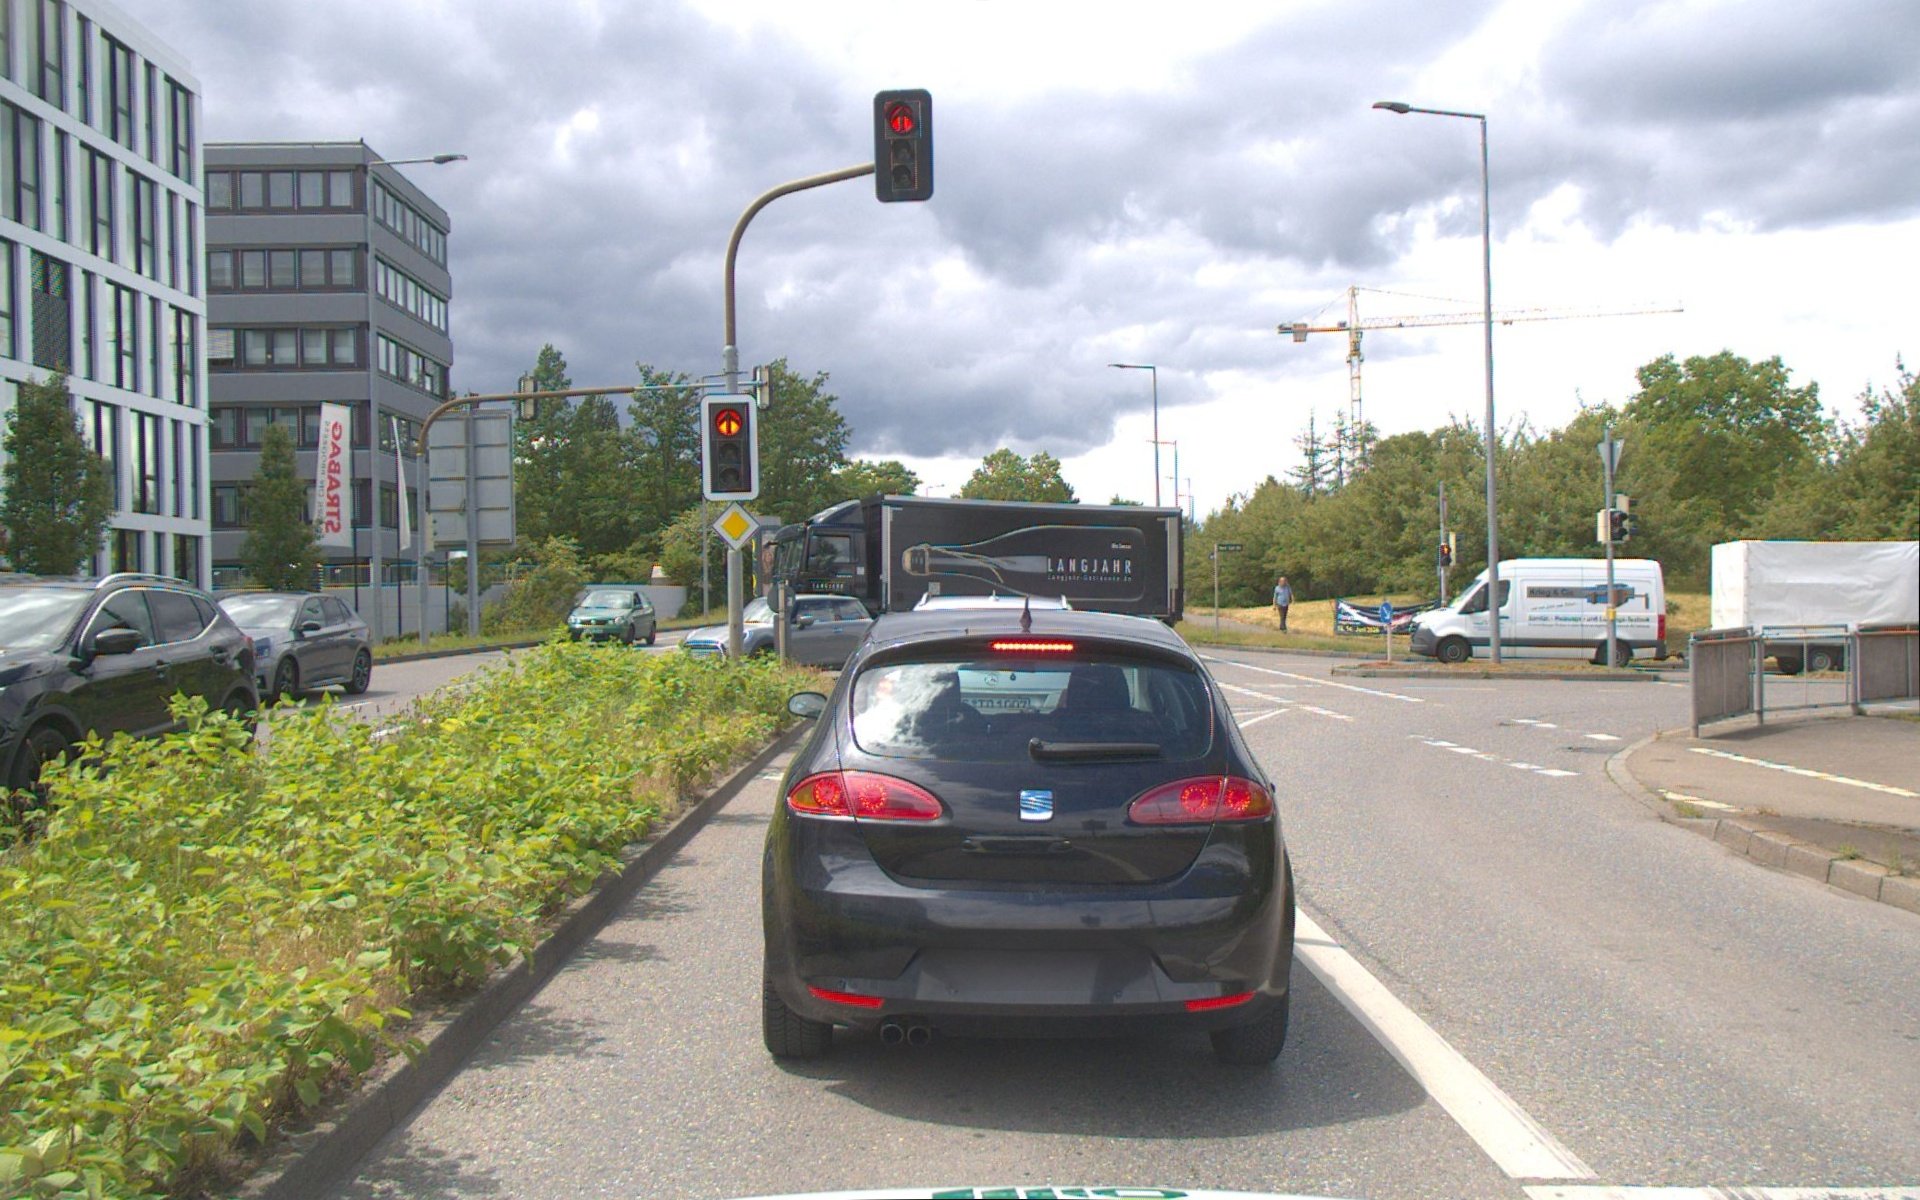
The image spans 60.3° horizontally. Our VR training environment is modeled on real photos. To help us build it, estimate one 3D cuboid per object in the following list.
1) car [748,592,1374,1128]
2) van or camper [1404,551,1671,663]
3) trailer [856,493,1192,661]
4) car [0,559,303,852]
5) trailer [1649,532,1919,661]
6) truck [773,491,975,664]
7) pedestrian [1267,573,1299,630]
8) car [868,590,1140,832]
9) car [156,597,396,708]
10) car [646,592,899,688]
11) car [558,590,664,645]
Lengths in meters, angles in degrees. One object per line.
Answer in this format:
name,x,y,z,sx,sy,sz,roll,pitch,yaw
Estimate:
car,0.256,0.719,6.398,1.737,1.477,3.581,0,0,-1
van or camper,13.751,0.150,39.776,5.790,2.577,2.251,0,0,11
trailer,1.495,-0.509,37.149,7.484,3.519,1.985,0,0,-24
car,-6.348,0.604,11.262,1.952,1.644,4.319,-1,0,1
trailer,19.382,-0.062,38.681,5.643,2.855,2.249,-1,0,11
truck,-1.863,-0.479,35.565,3.933,3.530,1.986,0,0,-23
pedestrian,10.366,0.052,53.086,0.847,1.831,0.761,0,0,-1
car,0.196,0.702,12.511,1.738,1.517,3.580,-1,0,-3
car,-9.213,0.655,22.602,1.676,1.361,3.710,-1,0,1
car,-3.060,0.606,27.564,1.963,1.445,3.979,0,1,40
car,-9.023,0.423,43.043,1.953,1.375,3.999,0,0,-1
